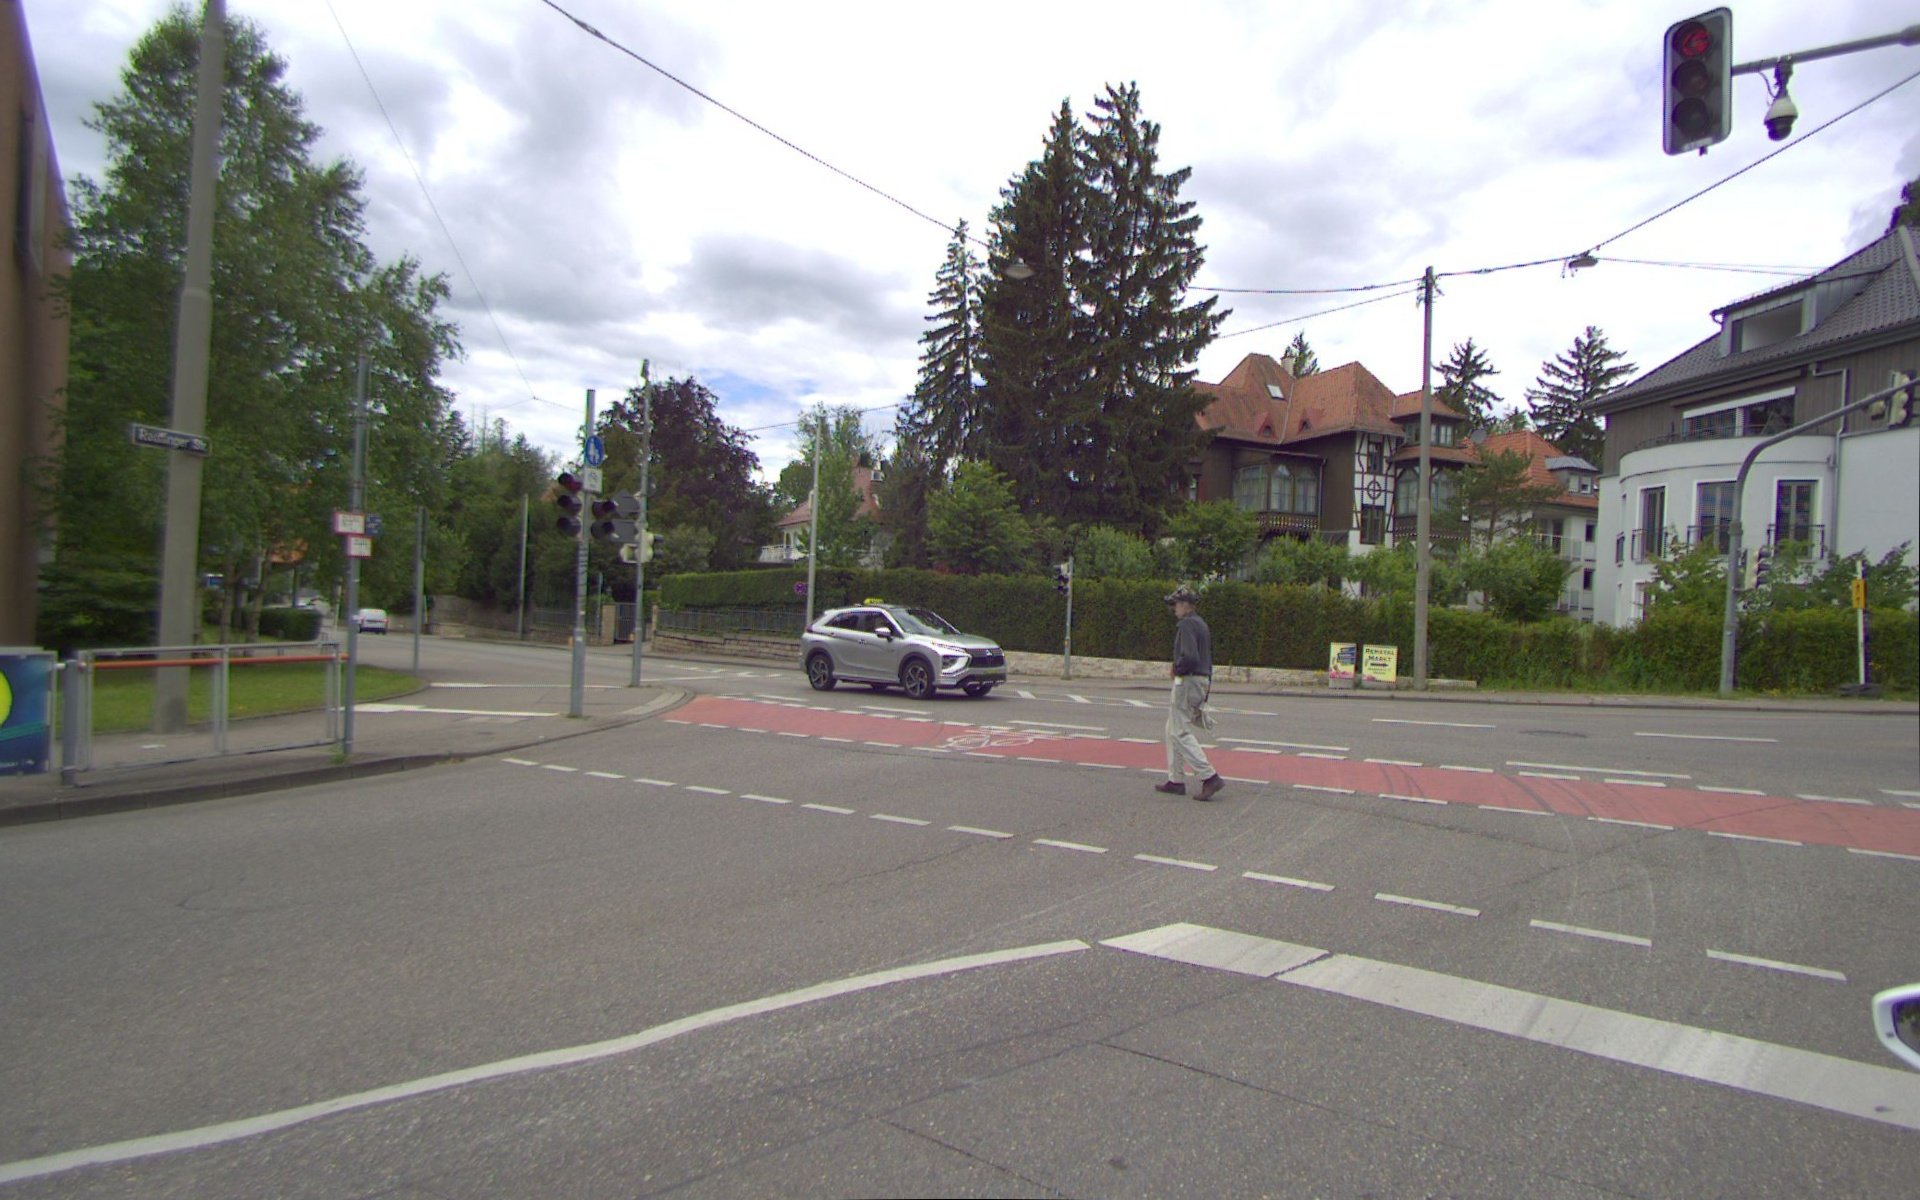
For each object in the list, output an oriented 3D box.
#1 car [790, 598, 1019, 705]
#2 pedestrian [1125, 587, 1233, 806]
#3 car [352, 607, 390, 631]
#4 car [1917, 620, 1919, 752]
[{"bbox_3d":[-1.146,0.897,18.943,4.425,1.776,1.802,-1,-2,44],"label":"car"},{"bbox_3d":[1.768,0.741,8.068,0.726,1.655,0.683,-1,-1,22],"label":"pedestrian"},{"bbox_3d":[-43.957,1.453,74.947,1.798,1.734,3.990,2,-2,-40],"label":"car"},{"bbox_3d":[13.232,0.993,10.284,4.647,1.547,1.806,0,-1,16],"label":"car"}]
